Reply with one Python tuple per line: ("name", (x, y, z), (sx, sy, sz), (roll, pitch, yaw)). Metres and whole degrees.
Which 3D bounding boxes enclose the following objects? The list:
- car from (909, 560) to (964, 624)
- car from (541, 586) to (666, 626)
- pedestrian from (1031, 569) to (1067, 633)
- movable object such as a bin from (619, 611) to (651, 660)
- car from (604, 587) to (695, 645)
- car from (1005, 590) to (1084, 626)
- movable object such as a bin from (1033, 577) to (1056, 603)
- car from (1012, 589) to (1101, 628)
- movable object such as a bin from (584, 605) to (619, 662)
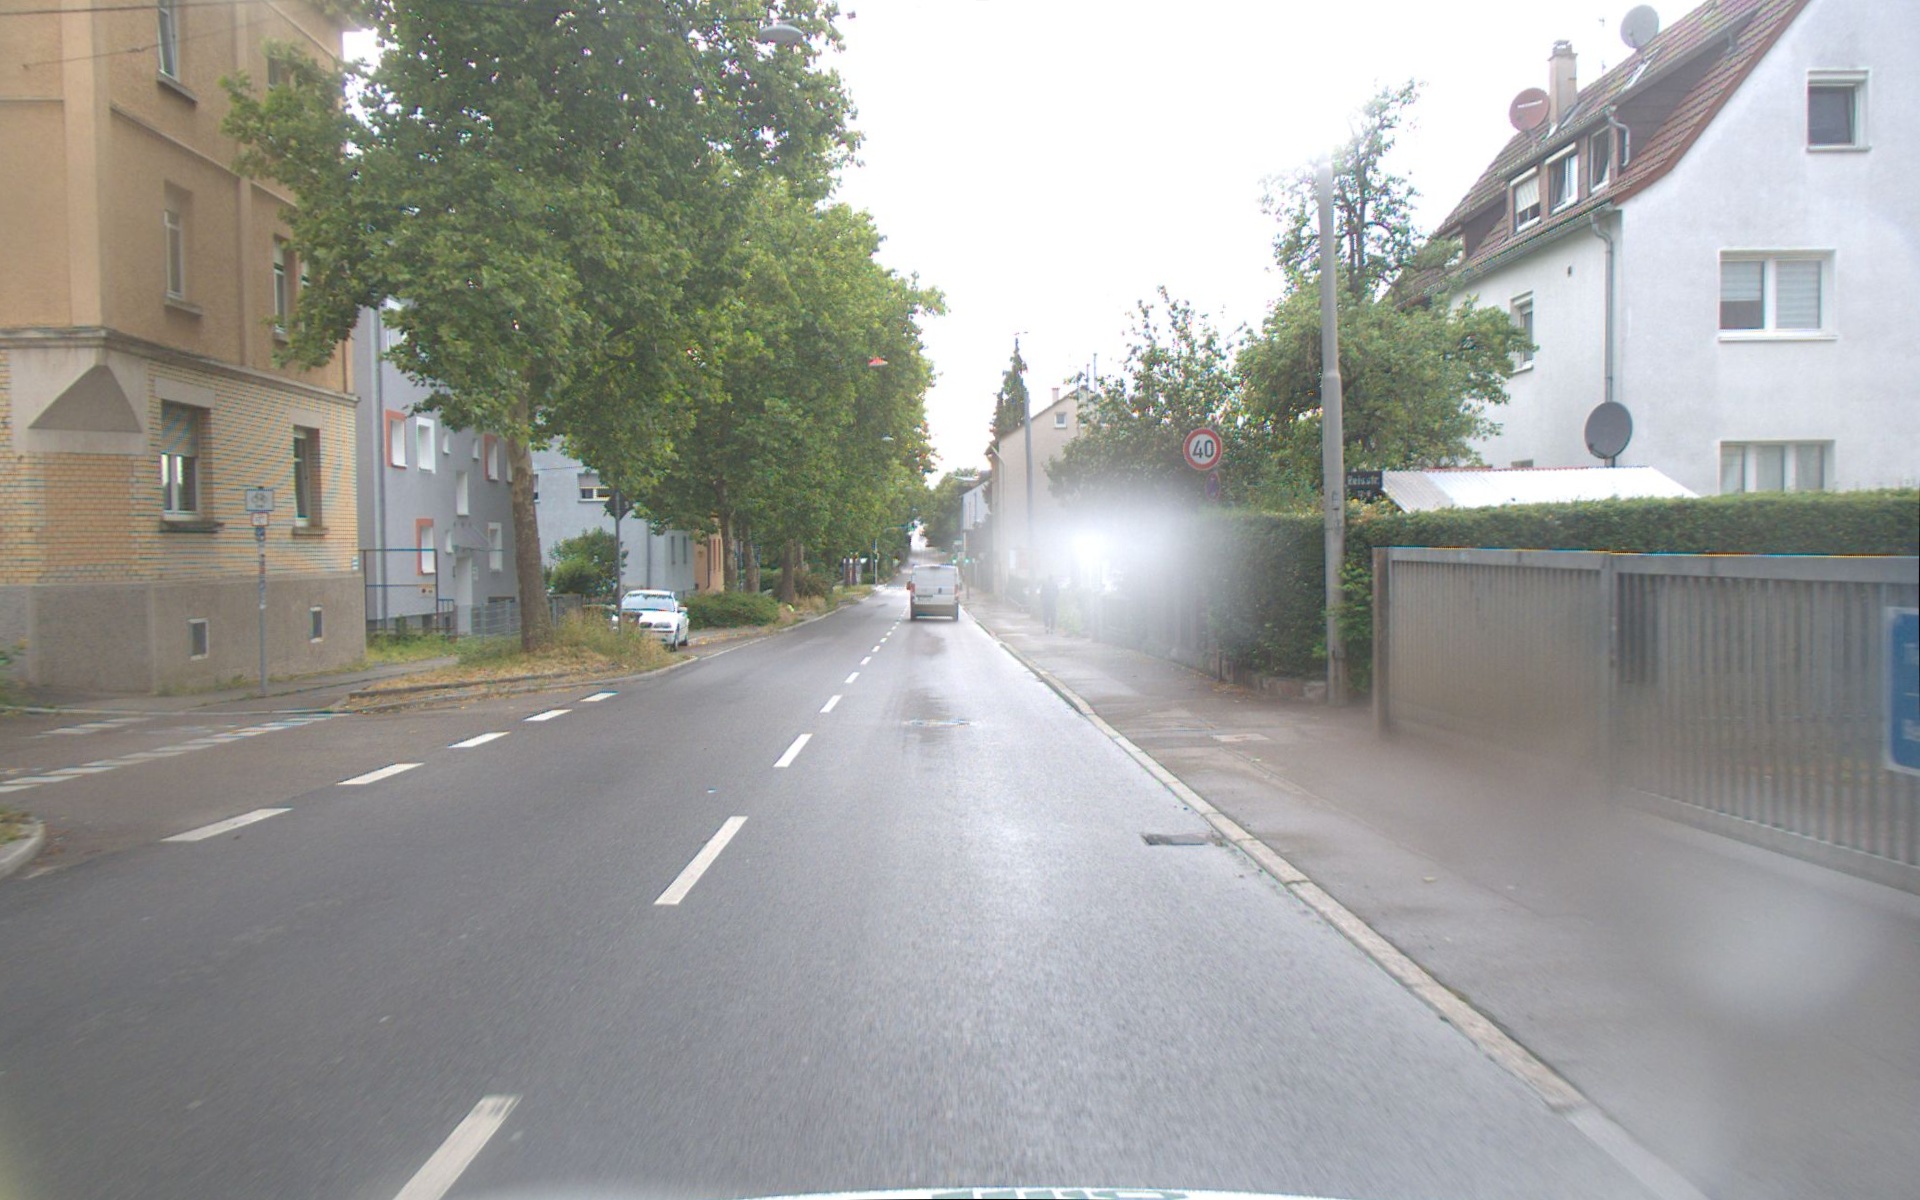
("car", (-0.976, -0.314, 69.221), (2.236, 2.597, 3.999), (0, 0, -1))
("car", (-14.181, 0.227, 66.002), (4.568, 1.502, 1.869), (1, 0, -2))
("pedestrian", (2.701, 0.024, 50.262), (1.022, 1.930, 0.900), (-1, 0, -1))
("movable object such as a bin", (-6.414, 0.694, 32.692), (0.501, 0.944, 0.581), (-2, 0, -1))
("car", (-7.627, 0.365, 40.975), (1.721, 1.349, 4.535), (0, 0, -4))
("car", (4.392, 0.413, 86.146), (3.984, 1.766, 1.869), (1, 0, -2))
("movable object such as a bin", (5.089, -0.586, 99.695), (1.209, 1.536, 1.110), (-3, 0, -2))
("car", (4.692, 0.414, 81.058), (4.215, 1.799, 1.999), (1, 0, -2))
("movable object such as a bin", (-7.042, 0.651, 32.509), (0.523, 1.076, 0.762), (-2, 0, -1))
